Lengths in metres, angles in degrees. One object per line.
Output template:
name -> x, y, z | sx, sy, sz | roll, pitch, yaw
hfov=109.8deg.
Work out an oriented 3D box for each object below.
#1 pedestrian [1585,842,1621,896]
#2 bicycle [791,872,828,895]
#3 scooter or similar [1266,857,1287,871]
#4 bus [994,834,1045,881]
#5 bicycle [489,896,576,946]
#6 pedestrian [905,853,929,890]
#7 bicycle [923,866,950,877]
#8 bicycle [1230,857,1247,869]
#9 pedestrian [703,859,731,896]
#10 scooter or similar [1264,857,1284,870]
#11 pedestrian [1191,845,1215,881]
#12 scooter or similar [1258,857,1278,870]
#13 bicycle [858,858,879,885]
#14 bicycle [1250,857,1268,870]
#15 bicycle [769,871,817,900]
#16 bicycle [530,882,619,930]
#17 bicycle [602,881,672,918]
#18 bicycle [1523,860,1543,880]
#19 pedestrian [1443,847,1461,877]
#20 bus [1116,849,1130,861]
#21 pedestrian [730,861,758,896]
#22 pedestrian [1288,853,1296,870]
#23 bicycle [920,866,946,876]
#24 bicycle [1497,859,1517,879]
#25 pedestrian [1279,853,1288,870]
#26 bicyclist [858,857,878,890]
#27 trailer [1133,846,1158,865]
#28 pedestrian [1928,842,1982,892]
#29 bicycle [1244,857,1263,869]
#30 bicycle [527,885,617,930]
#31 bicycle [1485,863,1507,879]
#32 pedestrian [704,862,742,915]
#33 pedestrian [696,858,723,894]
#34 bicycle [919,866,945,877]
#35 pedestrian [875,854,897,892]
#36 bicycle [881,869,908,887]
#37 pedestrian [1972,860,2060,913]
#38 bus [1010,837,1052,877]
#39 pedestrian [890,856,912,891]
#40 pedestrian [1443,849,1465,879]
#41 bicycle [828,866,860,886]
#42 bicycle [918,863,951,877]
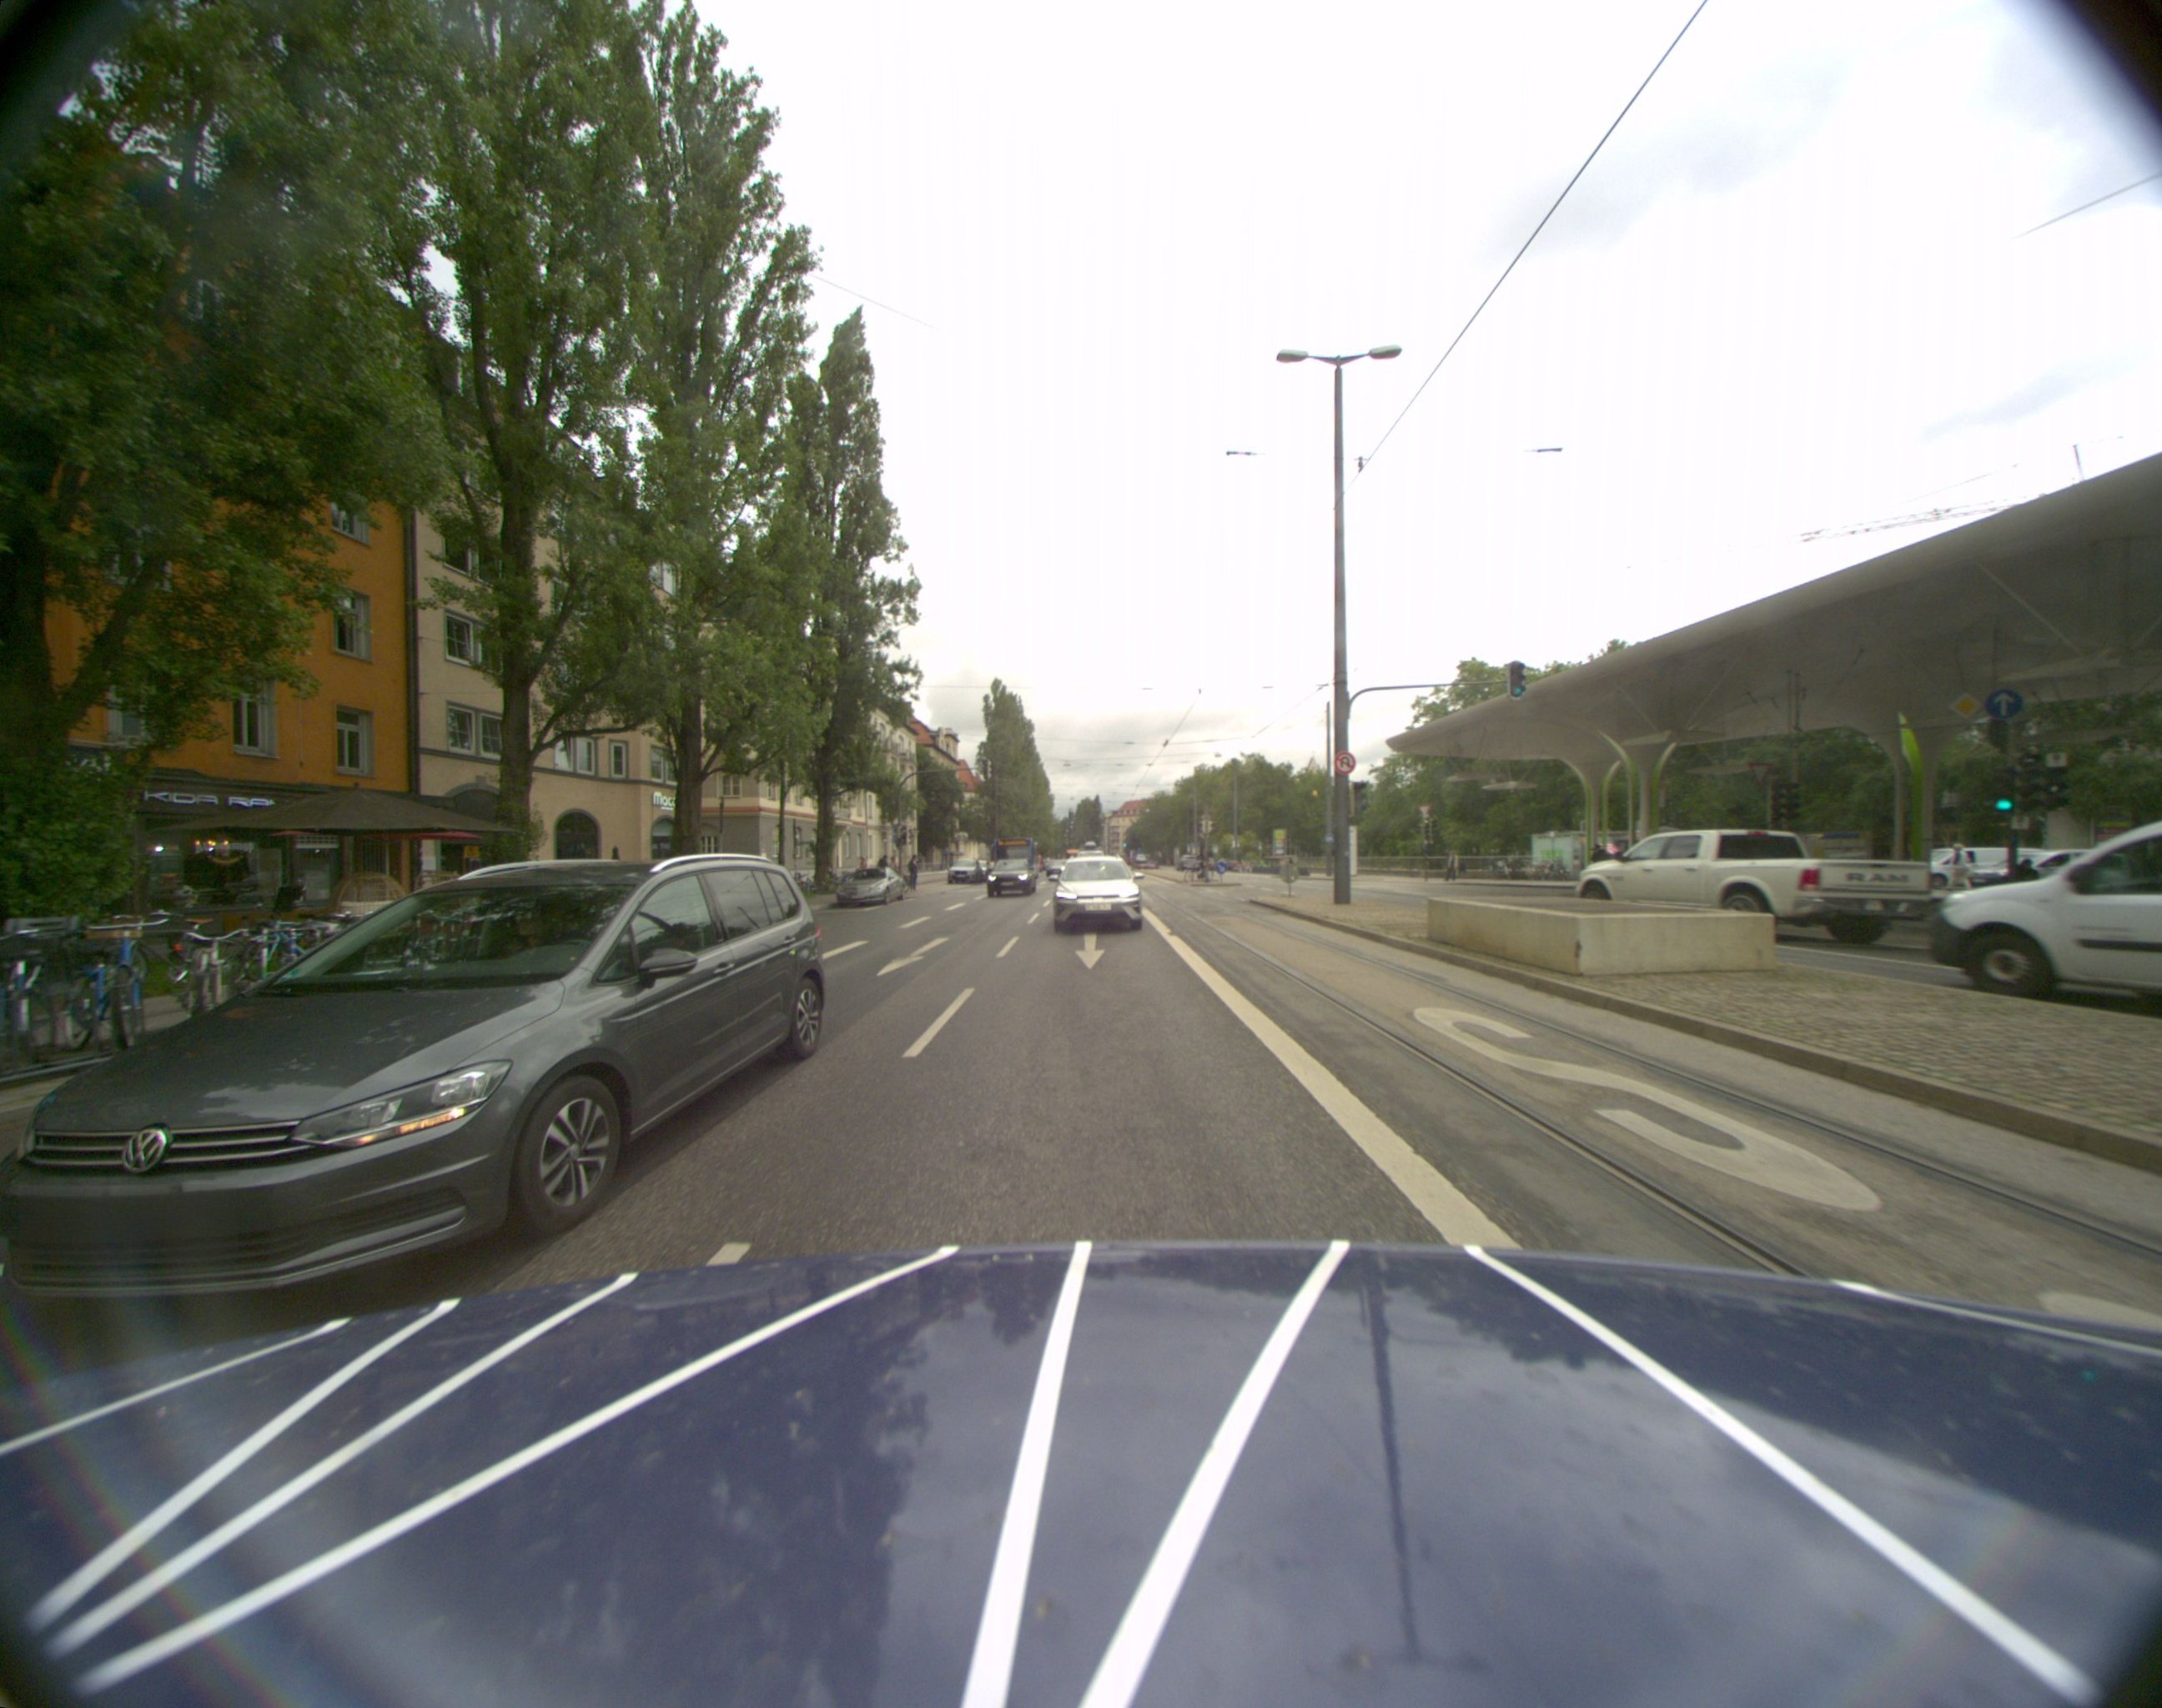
pedestrian -> 18.148, 0.514, 26.420 | 0.667, 1.828, 0.808 | -1, 1, -31
bicycle -> -12.857, 1.404, 36.008 | 1.575, 1.044, 0.392 | -2, 1, 2
scooter or similar -> 17.275, 0.872, 67.103 | 1.692, 1.165, 0.562 | -1, 0, -2
bus -> -4.244, 0.255, 54.441 | 2.637, 2.956, 9.466 | -3, 0, 1
bicycle -> -11.611, 1.384, 16.156 | 0.458, 0.887, 1.893 | -1, 0, 0
pedestrian -> -8.138, 0.876, 37.701 | 0.881, 1.791, 0.757 | -1, 0, 11
bicycle -> -13.051, 1.562, 68.730 | 2.326, 0.916, 0.586 | -2, 1, -16
bicycle -> 16.082, 0.922, 77.607 | 1.693, 1.165, 0.505 | -1, 0, -7
pedestrian -> -16.899, 1.091, 35.271 | 0.748, 1.675, 1.017 | -1, 1, 1
scooter or similar -> 17.347, 0.868, 68.287 | 1.692, 1.165, 0.562 | -1, 0, -2
pedestrian -> 6.258, 0.454, 39.066 | 0.861, 1.801, 0.896 | -2, 1, -16
scooter or similar -> 17.328, 0.867, 70.467 | 1.695, 1.165, 0.561 | -1, 0, -18
bicycle -> -10.467, 0.831, 37.460 | 0.424, 1.280, 1.778 | -1, 0, 2
bicycle -> 16.763, 0.894, 71.557 | 1.696, 1.165, 0.560 | -1, 0, -29
bicycle -> -12.157, 1.316, 32.101 | 1.801, 1.103, 0.447 | -3, 0, 3
bicycle -> -12.841, 1.317, 19.287 | 1.892, 1.167, 0.582 | -1, 1, 3
bicycle -> -13.994, 1.435, 23.984 | 1.892, 1.107, 0.458 | -1, 1, -2
bicycle -> 25.562, 0.888, 43.031 | 0.479, 1.090, 1.851 | 0, 0, 15
pedestrian -> 21.756, 0.469, 44.591 | 0.735, 1.706, 0.861 | 0, 1, 11
bus -> 10.649, 0.347, 194.337 | 2.632, 2.949, 13.414 | 1, 0, -1
pedestrian -> -15.757, 1.132, 35.578 | 0.848, 1.593, 0.823 | 0, 1, 11
pedestrian -> 19.499, 0.675, 70.258 | 0.632, 1.549, 0.589 | 0, 1, 0
bicycle -> -14.029, 1.607, 72.108 | 2.323, 0.916, 0.640 | -2, 1, -2
bicycle -> 24.238, 0.865, 43.270 | 0.479, 1.090, 1.851 | 0, 0, 12
pedestrian -> 18.697, 0.713, 70.095 | 0.632, 1.549, 0.589 | 0, 1, 0
bicyclist -> -10.472, 0.962, 37.291 | 0.681, 1.594, 0.939 | -1, 1, 1
trailer -> 10.248, 0.227, 121.858 | 2.616, 2.666, 15.639 | 1, 0, 0
pedestrian -> 35.523, 0.516, 30.889 | 1.003, 2.002, 1.027 | 0, 1, 7
bicycle -> 16.816, 0.890, 74.095 | 1.693, 1.165, 0.561 | -1, 0, -9
bicycle -> -12.353, 1.294, 18.468 | 1.892, 1.048, 0.458 | -1, 1, 3
bicycle -> 23.697, 0.962, 43.389 | 0.479, 0.889, 1.850 | 0, 0, 9
pedestrian -> -10.952, 1.045, 23.240 | 0.761, 1.553, 0.763 | -1, 0, 2
pedestrian -> -18.008, 1.035, 36.857 | 0.748, 1.704, 1.017 | -1, 1, 1
bicycle -> -13.711, 1.593, 69.939 | 2.326, 0.916, 0.586 | -2, 1, -16
pedestrian -> -9.192, 0.887, 35.833 | 0.699, 1.770, 0.652 | -2, 0, 34
bicycle -> -11.500, 1.447, 46.916 | 0.445, 1.017, 1.842 | -1, 1, 28
pedestrian -> 22.895, 0.769, 18.632 | 0.811, 1.223, 1.272 | 0, 0, 19
bus -> -4.067, 0.241, 63.468 | 2.637, 2.956, 8.534 | -3, 0, 1
pedestrian -> -8.640, 0.941, 36.494 | 0.758, 1.628, 0.699 | -1, 0, -42
pedestrian -> 20.144, 0.543, 41.020 | 0.739, 1.619, 0.741 | -1, 1, -20
bicycle -> -14.850, 1.358, 47.687 | 1.890, 1.147, 0.464 | -2, 1, -41
bicycle -> -13.359, 1.464, 69.348 | 2.922, 1.141, 0.639 | -2, 1, -17
